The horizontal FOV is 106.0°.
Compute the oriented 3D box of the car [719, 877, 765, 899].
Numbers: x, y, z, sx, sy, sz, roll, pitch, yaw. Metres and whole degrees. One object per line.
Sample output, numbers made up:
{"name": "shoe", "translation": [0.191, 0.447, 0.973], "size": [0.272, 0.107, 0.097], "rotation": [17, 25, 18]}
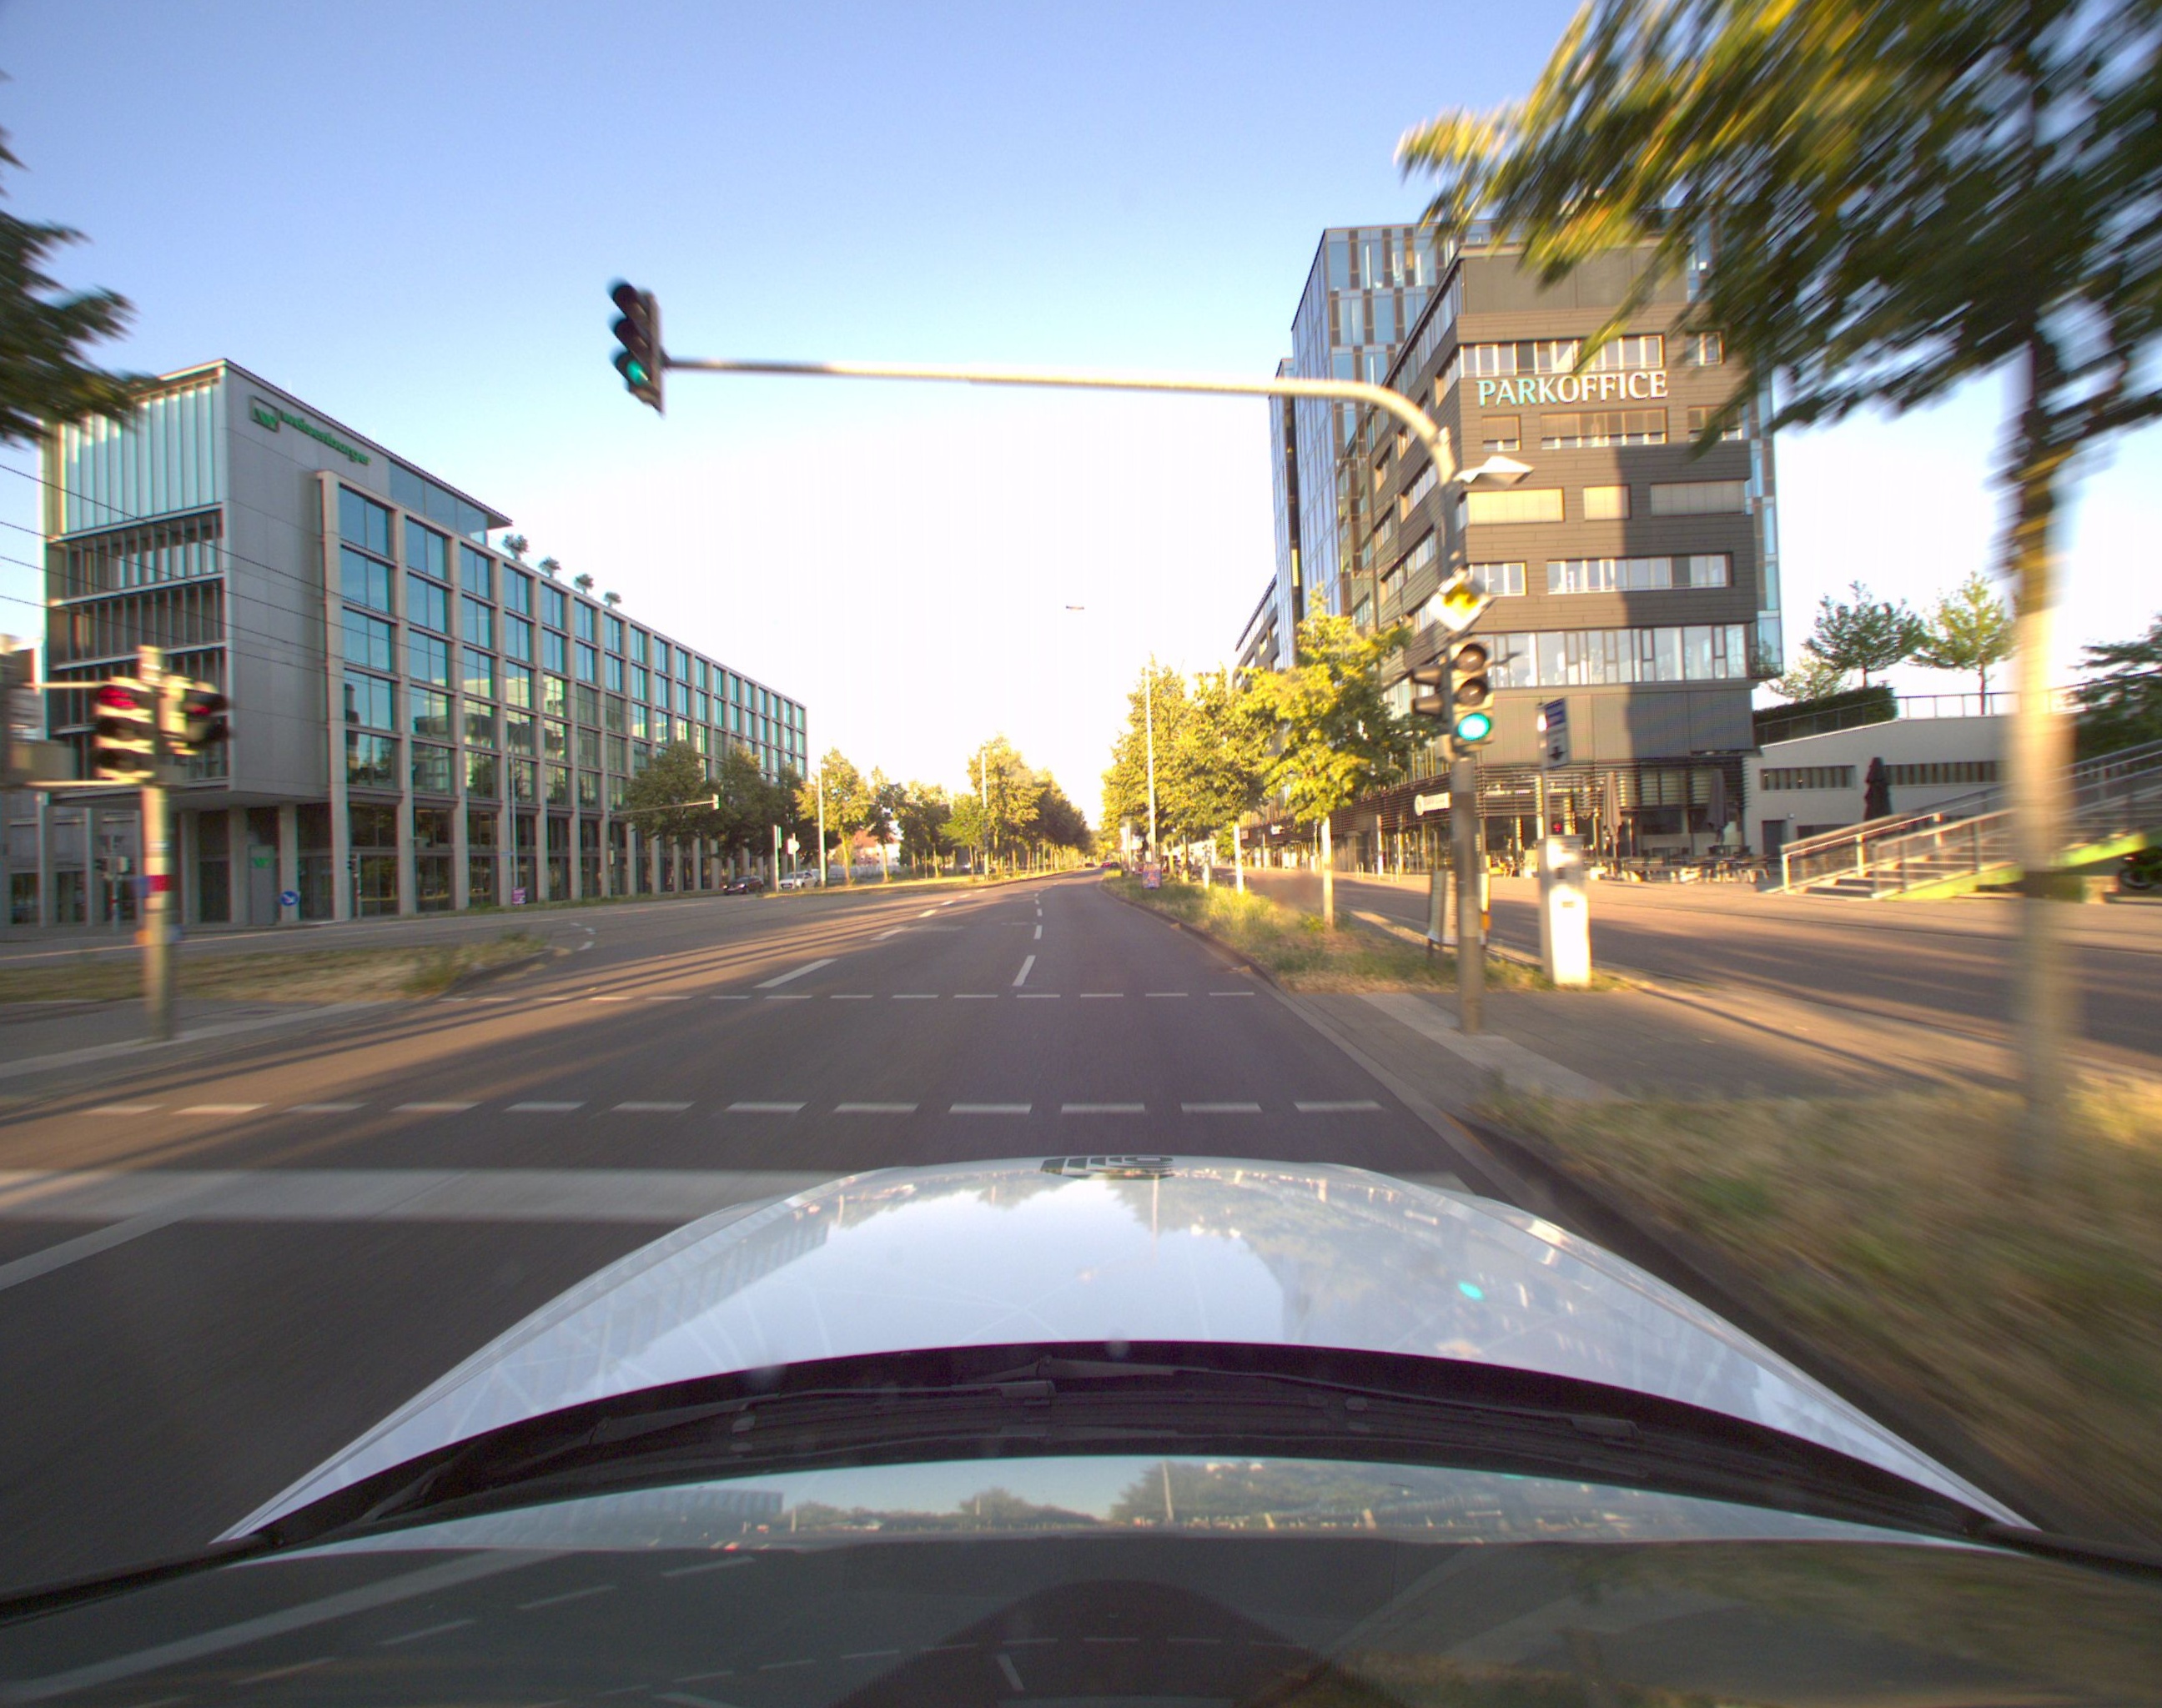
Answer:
{"name": "car", "translation": [-25.183, 2.496, 60.600], "size": [1.635, 1.449, 4.000], "rotation": [-2, 0, 1]}

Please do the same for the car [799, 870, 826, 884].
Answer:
{"name": "car", "translation": [-41.995, 3.539, 127.609], "size": [2.197, 2.014, 5.087], "rotation": [-2, -1, 3]}

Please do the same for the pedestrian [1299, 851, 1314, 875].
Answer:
{"name": "pedestrian", "translation": [17.705, 0.711, 63.946], "size": [0.893, 1.797, 0.912], "rotation": [-2, -1, 1]}

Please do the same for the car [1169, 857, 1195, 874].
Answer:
{"name": "car", "translation": [9.324, 1.066, 75.323], "size": [1.910, 1.496, 5.043], "rotation": [-1, -1, 2]}

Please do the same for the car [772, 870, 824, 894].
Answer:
{"name": "car", "translation": [-19.758, 1.936, 57.102], "size": [1.896, 1.485, 4.631], "rotation": [-2, -1, 1]}

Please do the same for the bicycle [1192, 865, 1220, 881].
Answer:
{"name": "bicycle", "translation": [7.760, 1.179, 50.637], "size": [1.701, 0.910, 0.364], "rotation": [-2, -1, 35]}

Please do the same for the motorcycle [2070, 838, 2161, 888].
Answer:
{"name": "motorcycle", "translation": [23.194, 0.179, 17.647], "size": [0.725, 1.043, 2.701], "rotation": [-2, 0, 13]}

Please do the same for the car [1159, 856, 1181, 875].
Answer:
{"name": "car", "translation": [9.698, 1.252, 88.625], "size": [1.979, 1.989, 4.934], "rotation": [-1, -1, 2]}

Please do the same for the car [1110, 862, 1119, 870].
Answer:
{"name": "car", "translation": [6.925, 2.535, 168.637], "size": [1.904, 1.486, 4.001], "rotation": [-2, -1, 2]}

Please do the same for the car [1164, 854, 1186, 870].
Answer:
{"name": "car", "translation": [9.345, 0.765, 81.189], "size": [1.852, 1.496, 4.293], "rotation": [-2, 0, 3]}
